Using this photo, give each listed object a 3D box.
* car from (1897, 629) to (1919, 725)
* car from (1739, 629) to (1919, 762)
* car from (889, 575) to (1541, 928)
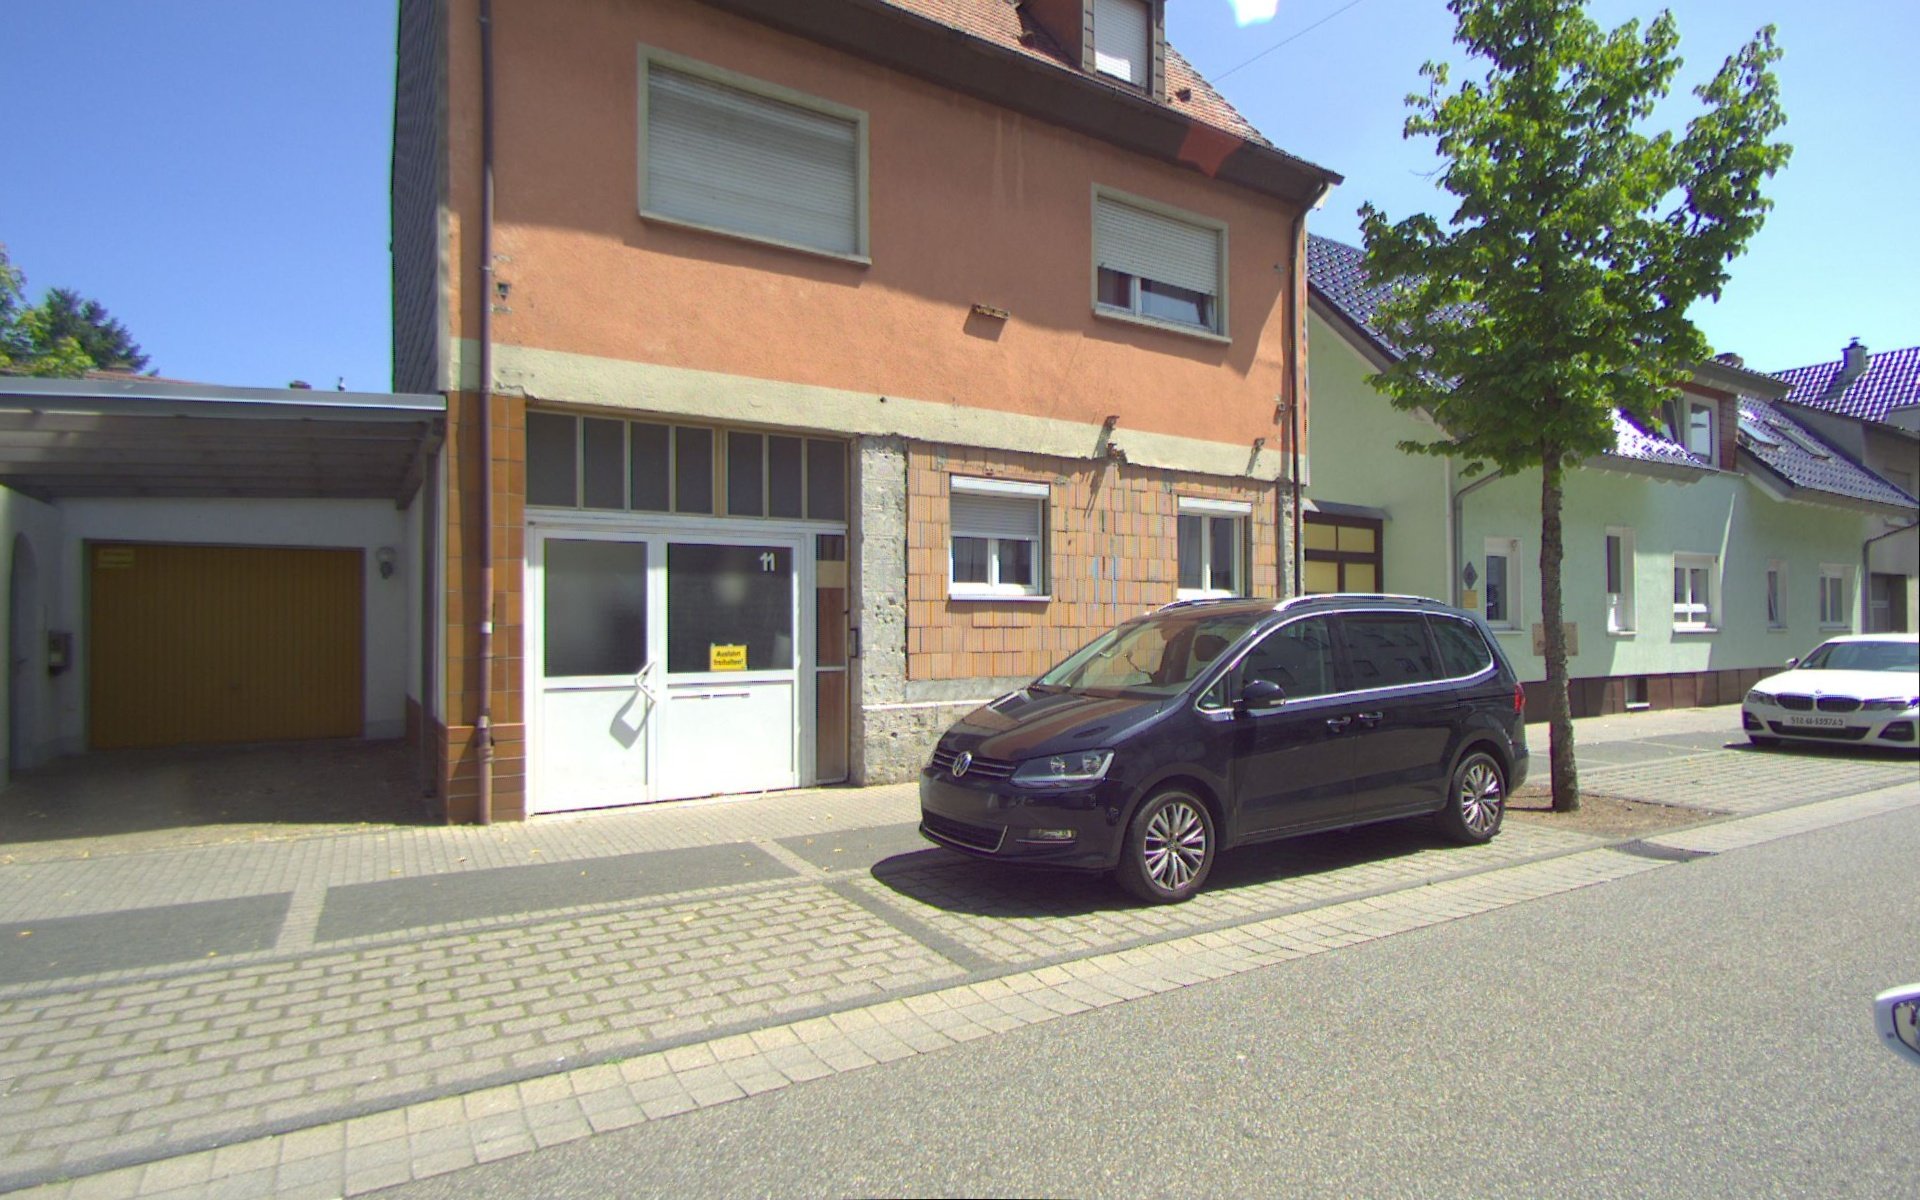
[{"bbox_3d":[16.820,1.185,15.938,4.485,1.456,1.653,1,-1,-31],"label":"car"},{"bbox_3d":[12.151,1.115,13.103,4.409,1.456,1.711,1,-1,-32],"label":"car"},{"bbox_3d":[1.888,0.799,6.924,4.469,1.749,1.766,1,-2,-32],"label":"car"}]
